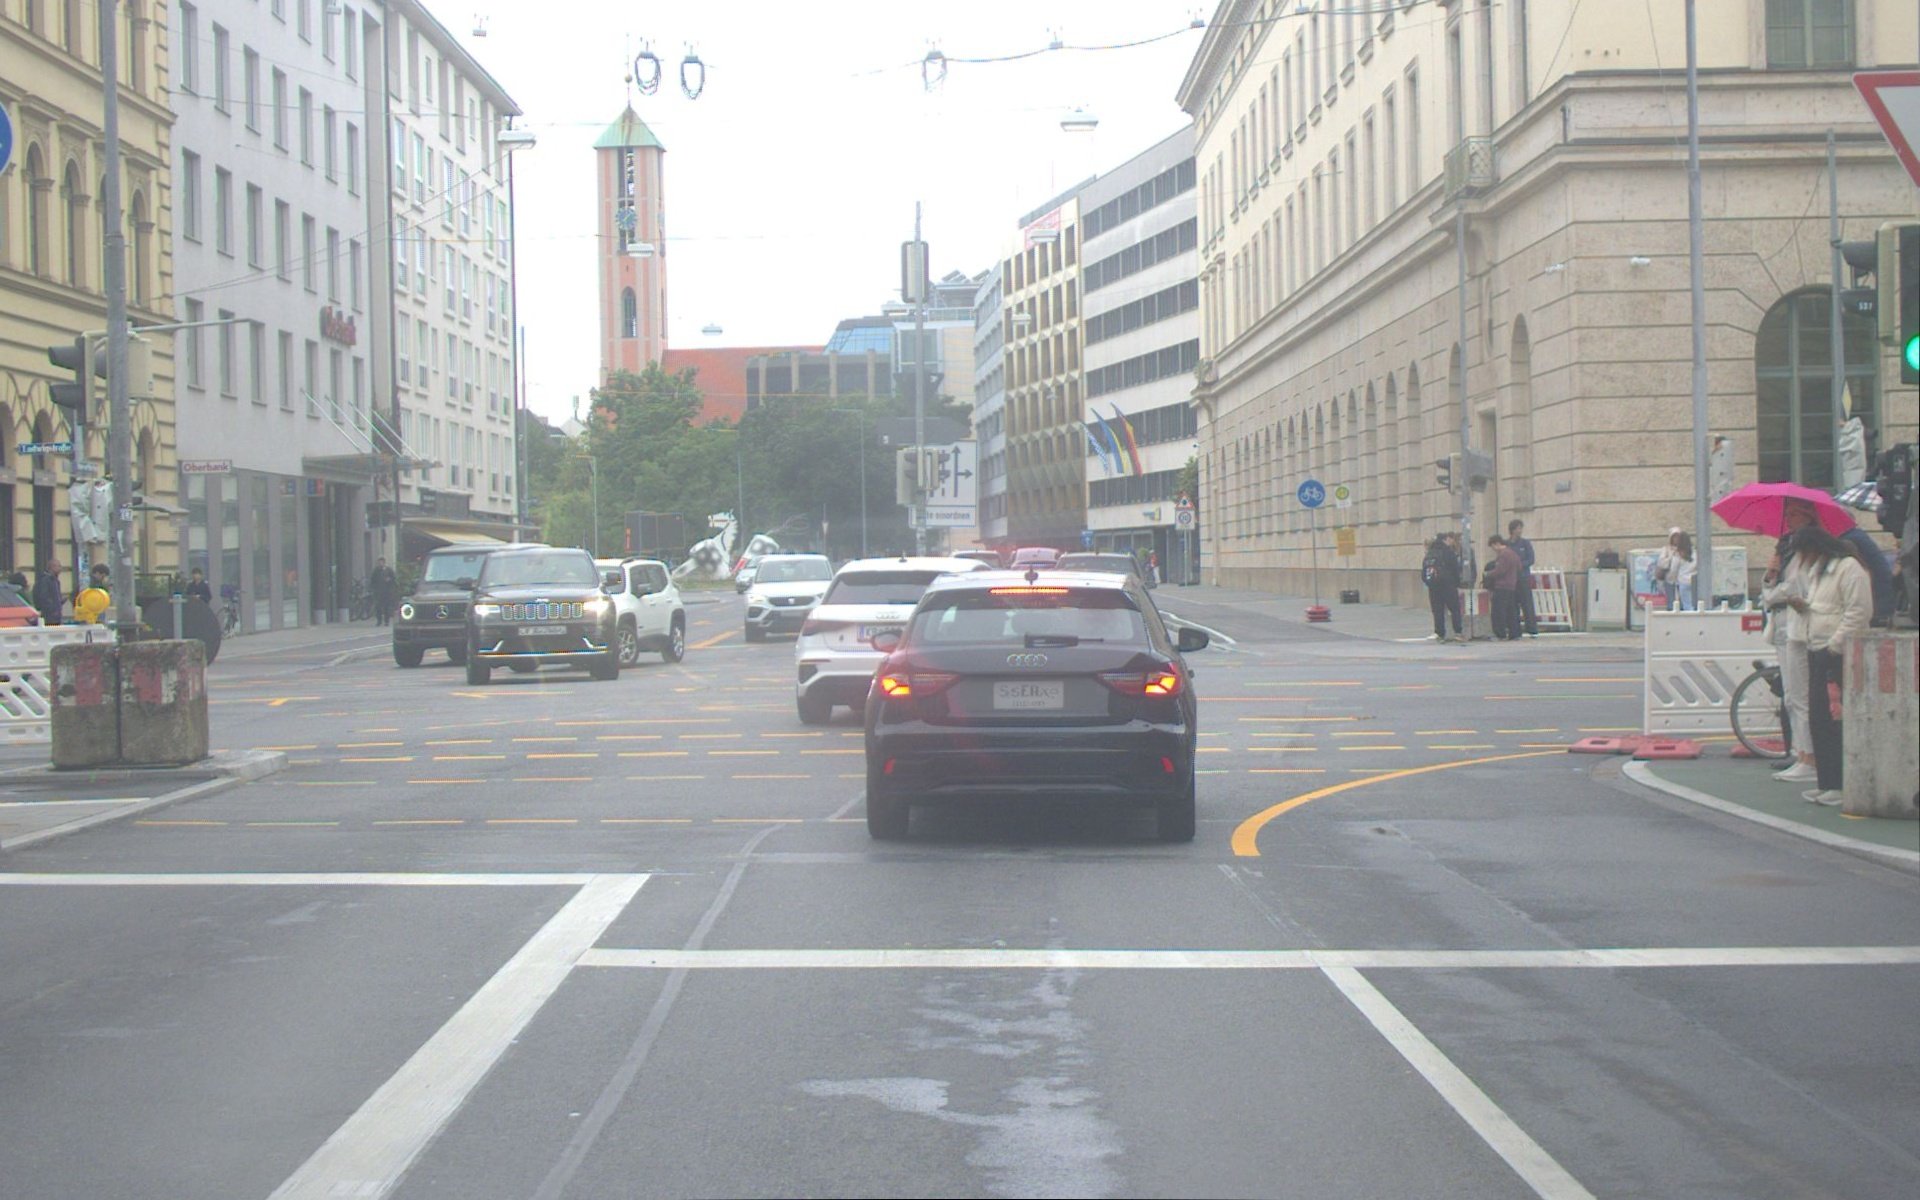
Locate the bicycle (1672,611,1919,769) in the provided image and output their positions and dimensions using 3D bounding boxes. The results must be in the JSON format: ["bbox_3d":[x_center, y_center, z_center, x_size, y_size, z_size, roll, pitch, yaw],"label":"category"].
[{"bbox_3d":[5.761,0.598,23.547,1.655,1.008,0.585,1,1,42],"label":"bicycle"}]

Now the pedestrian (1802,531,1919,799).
[{"bbox_3d":[5.424,0.373,20.394,0.702,1.562,0.682,0,1,2],"label":"pedestrian"}]

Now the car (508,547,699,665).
[{"bbox_3d":[-5.392,0.055,52.569,1.794,1.672,4.231,-1,1,10],"label":"car"}]

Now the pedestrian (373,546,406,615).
[{"bbox_3d":[-14.739,-0.505,88.782,0.737,1.766,0.736,0,1,-1],"label":"pedestrian"}]

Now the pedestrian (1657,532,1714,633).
[{"bbox_3d":[11.237,-0.279,53.268,0.817,1.552,0.667,0,1,7],"label":"pedestrian"}]

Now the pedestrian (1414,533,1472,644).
[{"bbox_3d":[7.668,-0.192,54.599,0.818,1.749,0.679,0,1,16],"label":"pedestrian"}]

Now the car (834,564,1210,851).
[{"bbox_3d":[0.289,0.512,19.065,1.863,1.383,4.000,0,1,-1],"label":"car"}]

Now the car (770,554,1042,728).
[{"bbox_3d":[-0.404,0.309,30.952,1.813,1.420,4.451,1,1,7],"label":"car"}]

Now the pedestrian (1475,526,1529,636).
[{"bbox_3d":[8.676,-0.308,55.003,0.584,1.749,0.818,1,1,31],"label":"pedestrian"}]

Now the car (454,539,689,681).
[{"bbox_3d":[-5.046,0.082,45.320,1.995,1.728,4.584,-1,1,7],"label":"car"}]

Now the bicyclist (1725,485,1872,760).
[{"bbox_3d":[5.744,0.145,23.554,0.798,1.847,0.566,1,1,42],"label":"bicyclist"}]

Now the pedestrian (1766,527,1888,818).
[{"bbox_3d":[4.898,0.398,19.443,0.531,1.614,0.674,0,1,2],"label":"pedestrian"}]

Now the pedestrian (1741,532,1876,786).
[{"bbox_3d":[5.286,0.356,21.435,0.702,1.562,0.584,0,1,2],"label":"pedestrian"}]

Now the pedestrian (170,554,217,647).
[{"bbox_3d":[-14.672,-0.001,65.803,0.737,1.766,0.736,0,1,-1],"label":"pedestrian"}]

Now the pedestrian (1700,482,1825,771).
[{"bbox_3d":[5.301,0.165,22.743,0.702,1.878,0.641,0,1,5],"label":"pedestrian"}]

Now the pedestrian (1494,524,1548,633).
[{"bbox_3d":[9.088,-0.351,55.679,0.584,1.749,0.818,1,1,31],"label":"pedestrian"}]

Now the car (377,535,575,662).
[{"bbox_3d":[-8.083,-0.061,57.856,2.238,2.007,4.449,-1,1,6],"label":"car"}]

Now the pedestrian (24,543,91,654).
[{"bbox_3d":[-14.480,-0.028,55.162,0.734,1.766,0.738,0,1,21],"label":"pedestrian"}]

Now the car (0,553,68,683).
[{"bbox_3d":[-14.147,0.271,45.748,3.988,1.714,1.823,-2,1,-37],"label":"car"}]

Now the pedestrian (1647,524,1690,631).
[{"bbox_3d":[11.134,-0.360,54.023,0.616,1.666,0.542,0,1,7],"label":"pedestrian"}]

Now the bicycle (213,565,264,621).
[{"bbox_3d":[-16.073,-0.160,76.604,0.598,1.238,2.199,0,1,2],"label":"bicycle"}]

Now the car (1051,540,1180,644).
[{"bbox_3d":[2.508,-0.161,56.269,1.865,1.596,3.851,-1,1,-1],"label":"car"}]

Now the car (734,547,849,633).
[{"bbox_3d":[-3.141,-0.217,64.656,1.993,1.518,4.233,-1,1,-1],"label":"car"}]
